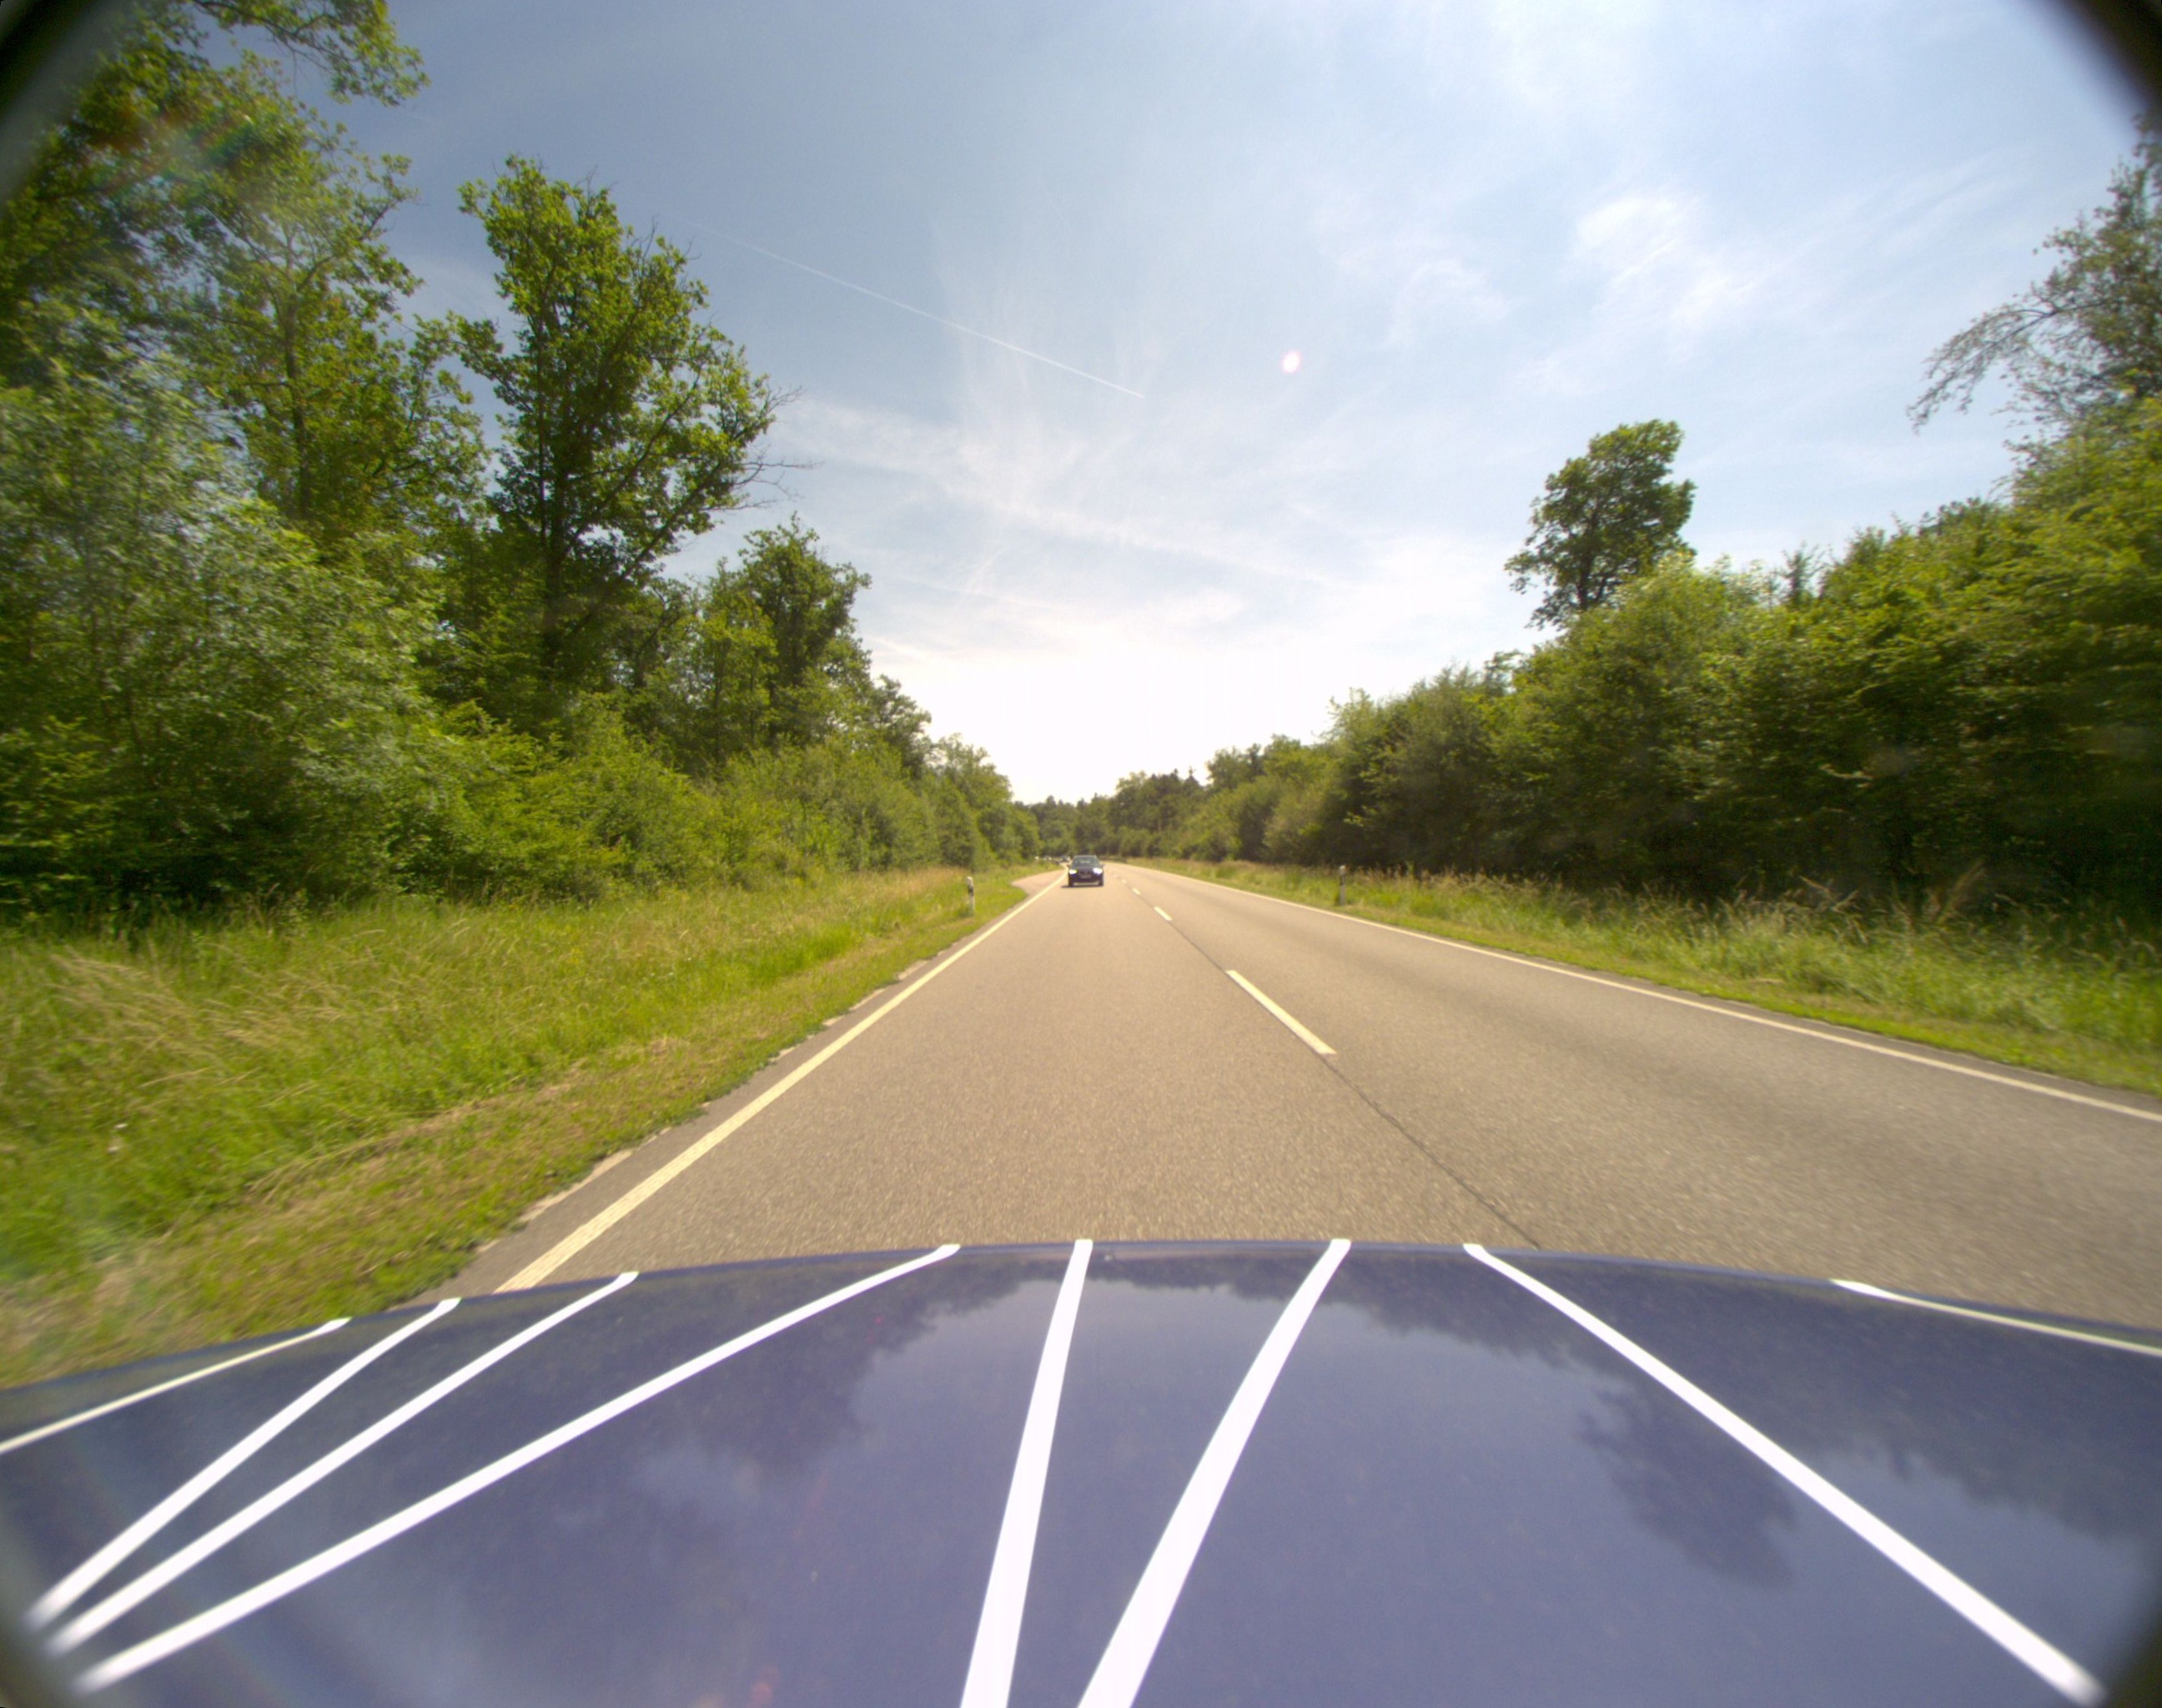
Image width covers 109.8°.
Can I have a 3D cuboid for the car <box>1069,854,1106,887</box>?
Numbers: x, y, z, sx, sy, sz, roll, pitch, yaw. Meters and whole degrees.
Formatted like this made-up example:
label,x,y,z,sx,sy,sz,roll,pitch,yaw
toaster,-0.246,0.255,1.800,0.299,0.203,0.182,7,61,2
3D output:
label,x,y,z,sx,sy,sz,roll,pitch,yaw
car,0.345,0.804,38.642,1.713,1.516,4.242,-2,0,1
